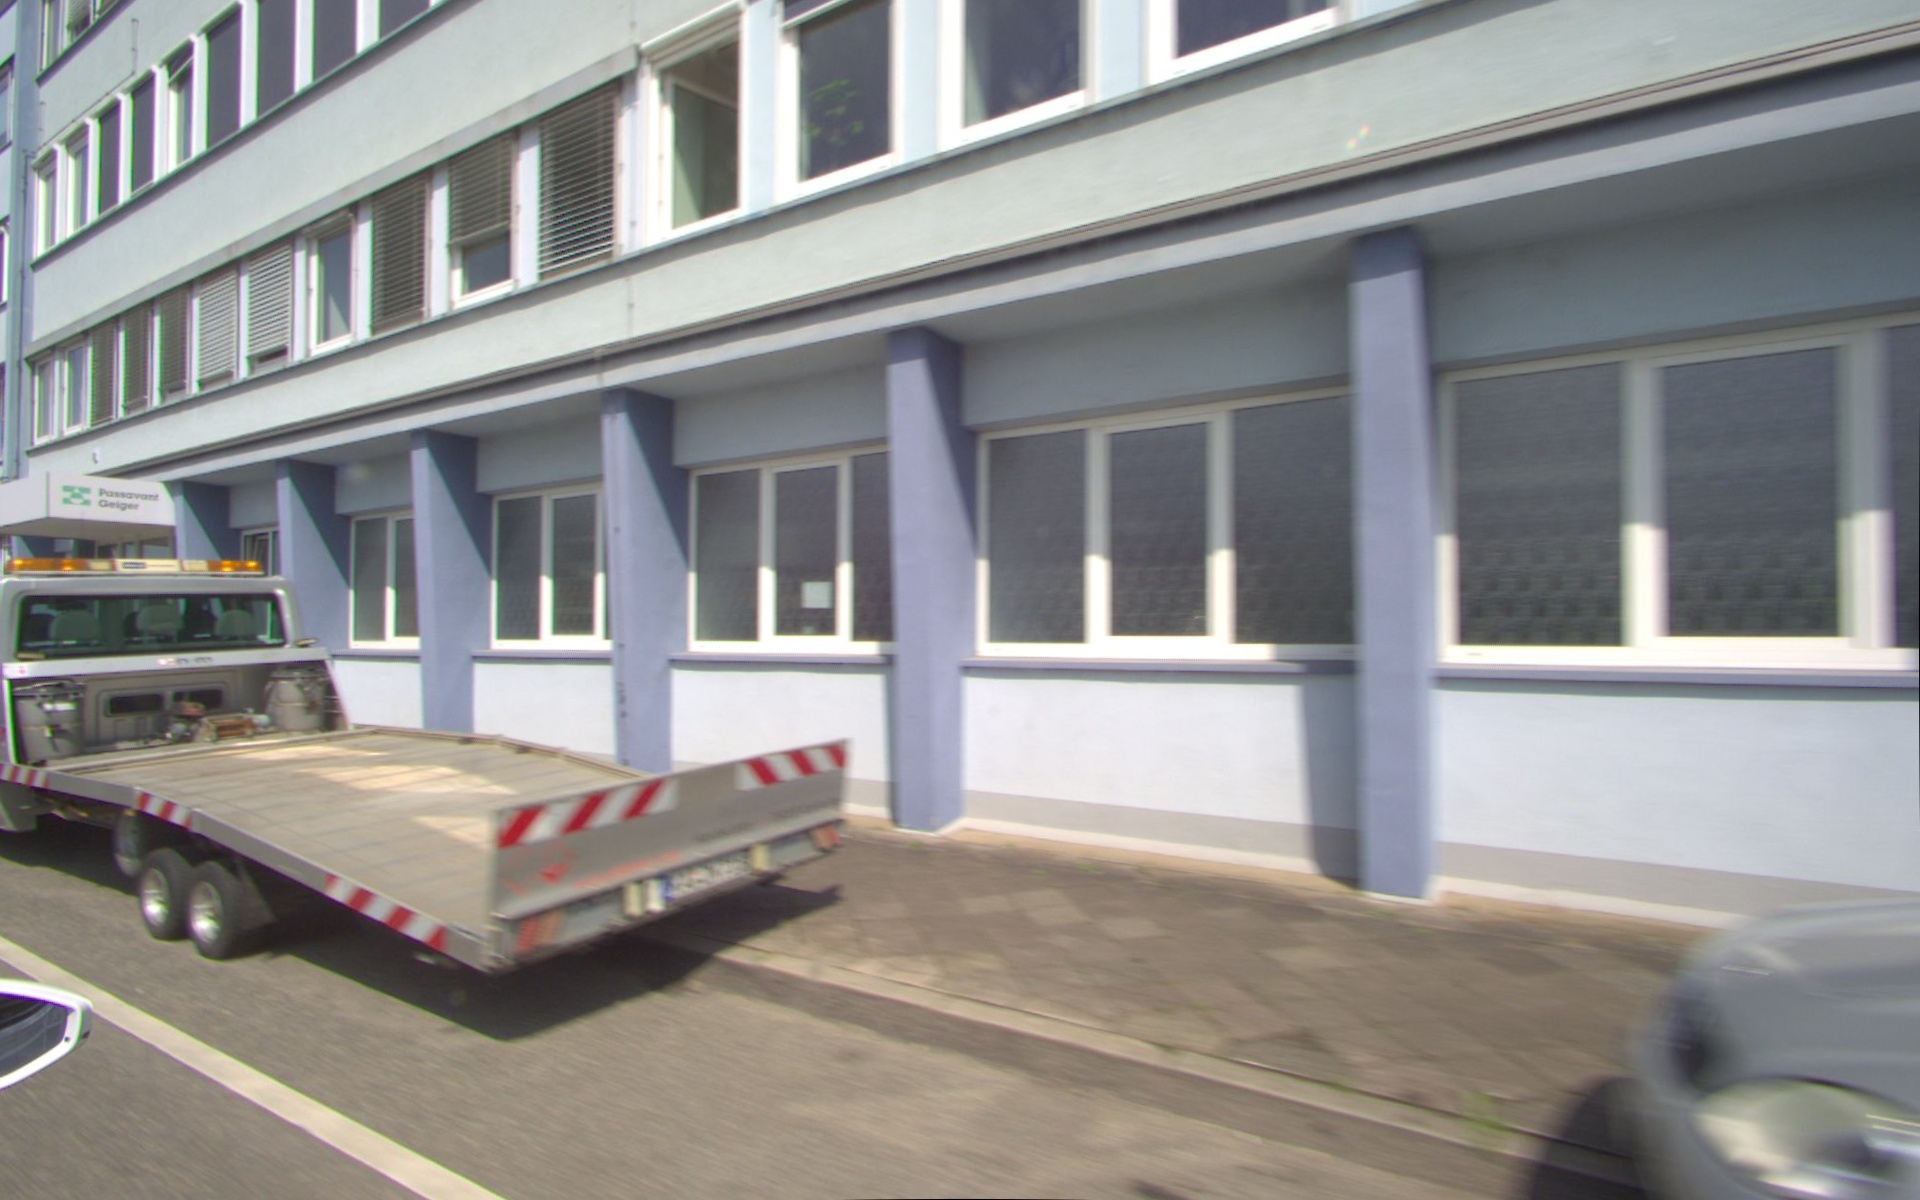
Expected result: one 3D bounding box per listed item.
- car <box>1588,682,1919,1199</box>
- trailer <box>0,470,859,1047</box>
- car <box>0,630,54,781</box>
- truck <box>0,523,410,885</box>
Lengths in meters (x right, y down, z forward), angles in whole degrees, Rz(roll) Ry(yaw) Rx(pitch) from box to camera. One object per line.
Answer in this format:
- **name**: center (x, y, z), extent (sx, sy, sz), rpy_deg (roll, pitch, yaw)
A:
- **car**: center (3.197, 0.847, 1.364), extent (3.942, 1.262, 1.644), rpy_deg (0, -2, 32)
- **trailer**: center (-3.439, 0.608, 5.830), extent (5.683, 1.996, 1.970), rpy_deg (-1, -2, 32)
- **car**: center (-12.020, 1.117, 11.211), extent (4.342, 1.561, 1.715), rpy_deg (-1, -3, 33)
- **truck**: center (-6.551, 0.653, 7.798), extent (4.666, 2.061, 1.961), rpy_deg (-1, -2, 32)
